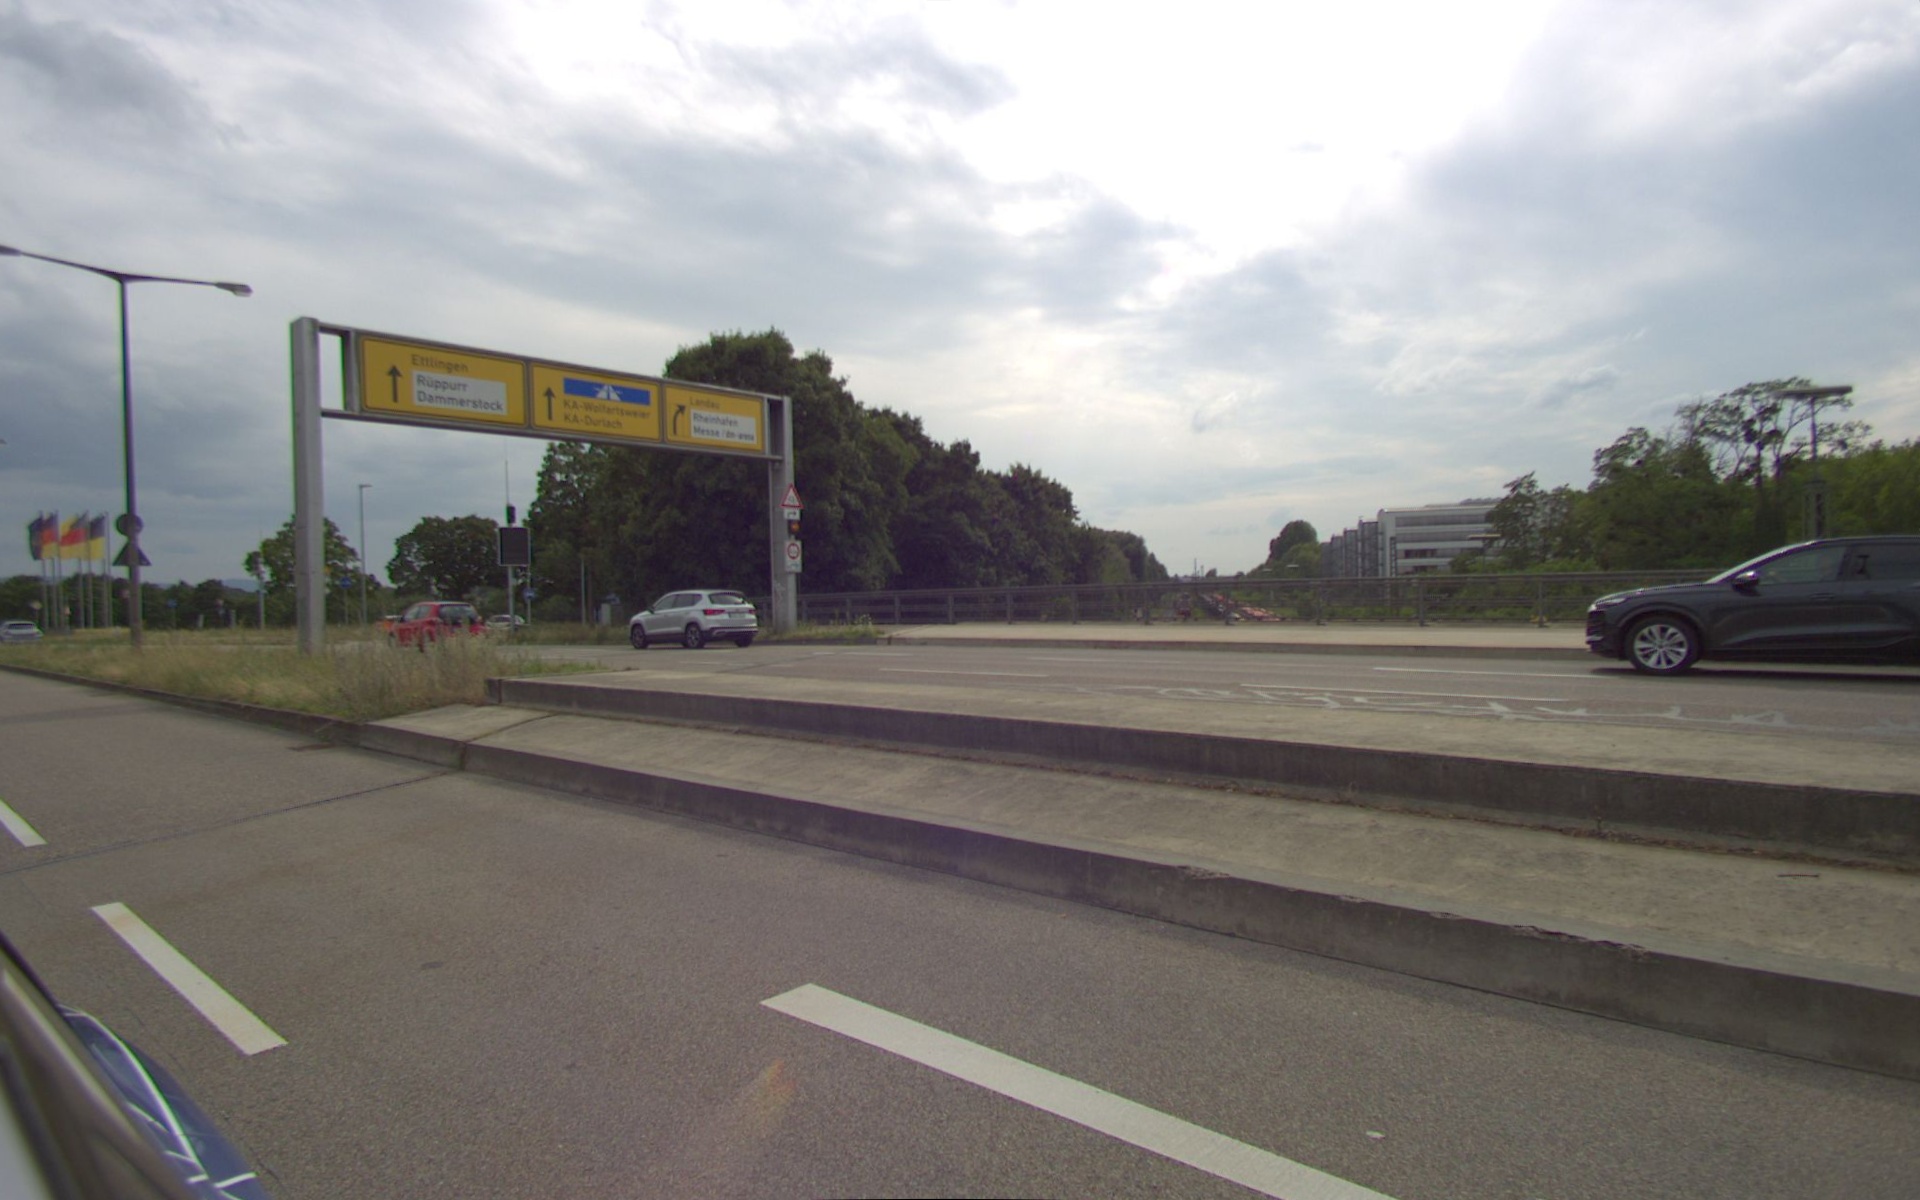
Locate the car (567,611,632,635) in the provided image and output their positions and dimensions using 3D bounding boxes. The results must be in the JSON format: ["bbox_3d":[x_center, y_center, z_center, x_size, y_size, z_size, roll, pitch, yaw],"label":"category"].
[{"bbox_3d":[-24.031,1.535,67.669,1.985,1.293,3.974,-3,1,20],"label":"car"}]

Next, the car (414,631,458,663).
[{"bbox_3d":[-26.656,2.417,51.608,1.860,1.539,4.682,2,-4,-26],"label":"car"}]

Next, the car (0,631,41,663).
[{"bbox_3d":[-51.449,2.582,54.894,3.872,1.619,1.754,-3,-1,39],"label":"car"}]

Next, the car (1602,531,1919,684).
[{"bbox_3d":[10.492,0.068,12.105,4.542,1.652,1.868,-1,1,40],"label":"car"}]

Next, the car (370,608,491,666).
[{"bbox_3d":[-15.742,1.058,30.036,3.912,1.543,1.706,-1,1,38],"label":"car"}]

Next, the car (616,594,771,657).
[{"bbox_3d":[-7.336,0.666,27.645,4.450,1.543,1.868,-1,1,41],"label":"car"}]
